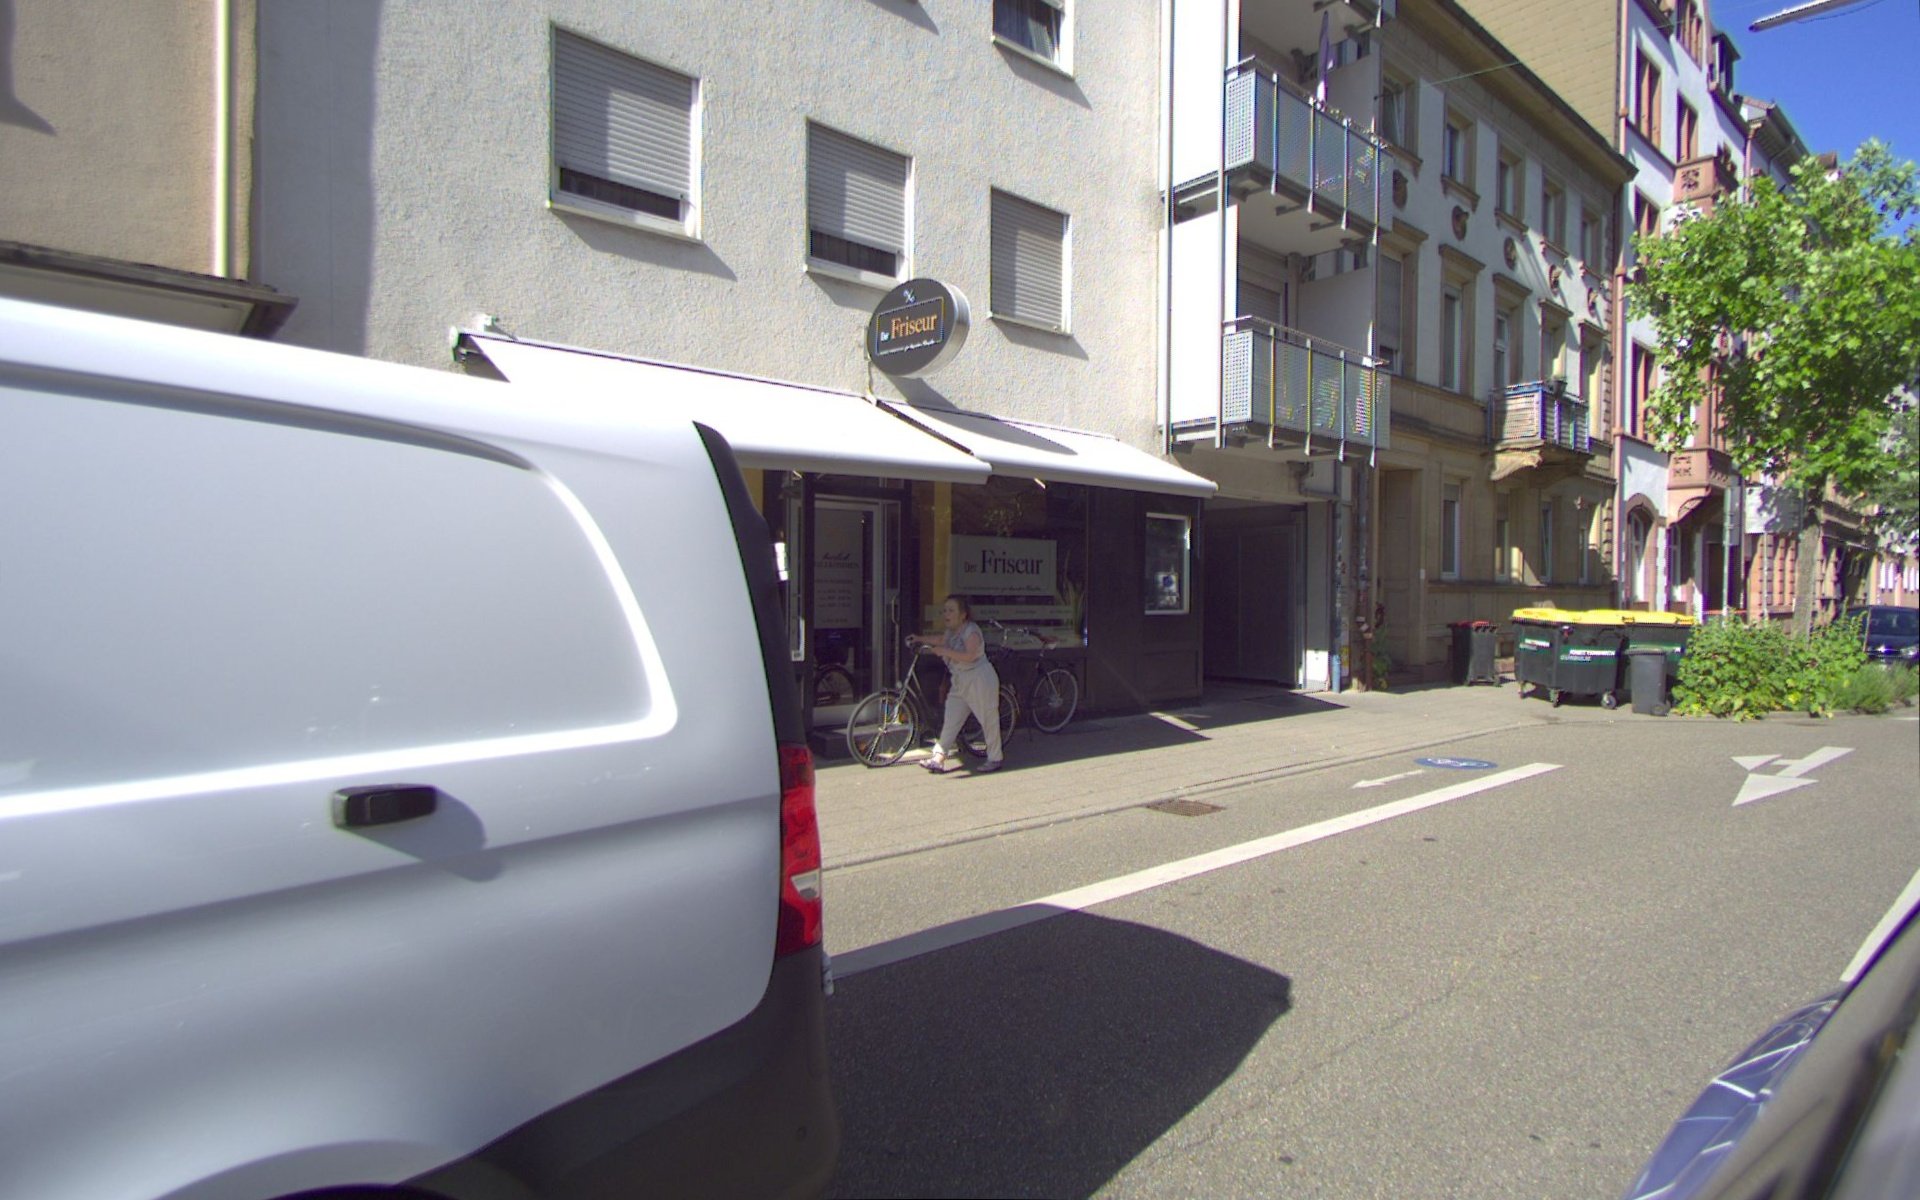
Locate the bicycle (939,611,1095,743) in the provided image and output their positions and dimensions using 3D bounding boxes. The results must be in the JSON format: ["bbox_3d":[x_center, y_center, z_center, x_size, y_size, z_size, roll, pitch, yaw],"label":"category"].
[{"bbox_3d":[0.603,0.723,10.110,1.760,1.193,0.402,0,0,-41],"label":"bicycle"}]

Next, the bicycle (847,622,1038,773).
[{"bbox_3d":[-0.115,0.793,8.779,1.760,1.146,0.402,0,4,-41],"label":"bicycle"}]

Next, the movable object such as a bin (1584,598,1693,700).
[{"bbox_3d":[9.957,0.687,14.908,0.943,1.365,1.066,1,3,11],"label":"movable object such as a bin"}]

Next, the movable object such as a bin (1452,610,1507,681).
[{"bbox_3d":[8.531,0.743,16.630,0.557,1.094,0.617,1,3,1],"label":"movable object such as a bin"}]

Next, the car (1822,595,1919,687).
[{"bbox_3d":[16.836,0.674,18.222,3.293,1.510,1.550,0,1,-41],"label":"car"}]

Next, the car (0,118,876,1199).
[{"bbox_3d":[-2.561,0.428,0.872,4.913,1.892,1.838,0,1,-44],"label":"car"}]

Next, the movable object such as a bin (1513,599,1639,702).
[{"bbox_3d":[8.841,0.702,14.584,1.030,1.341,1.216,1,3,1],"label":"movable object such as a bin"}]

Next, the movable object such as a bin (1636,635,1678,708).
[{"bbox_3d":[9.570,0.973,13.894,0.399,0.933,0.478,3,3,41],"label":"movable object such as a bin"}]

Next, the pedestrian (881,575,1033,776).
[{"bbox_3d":[-0.026,0.591,8.656,0.930,1.556,0.825,0,4,-41],"label":"pedestrian"}]
